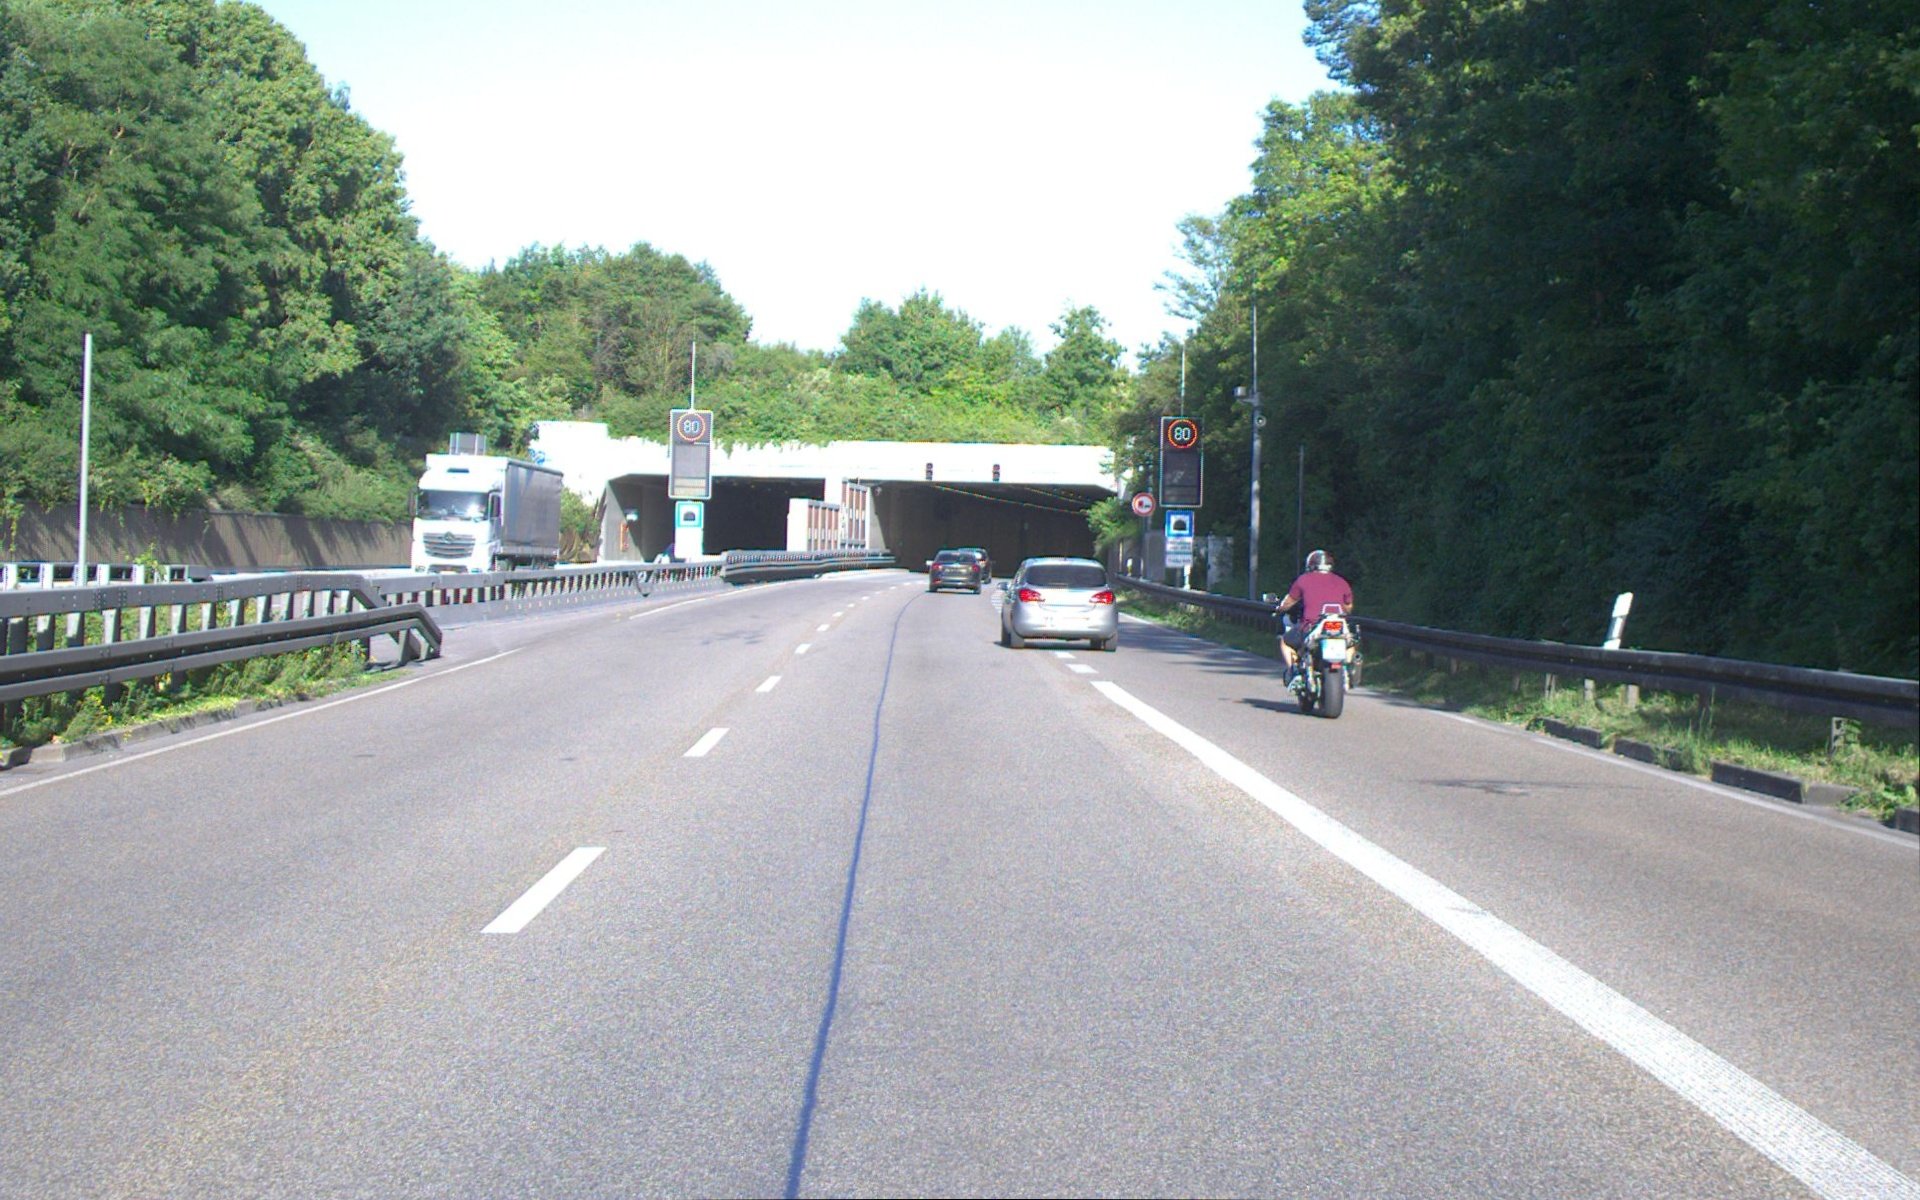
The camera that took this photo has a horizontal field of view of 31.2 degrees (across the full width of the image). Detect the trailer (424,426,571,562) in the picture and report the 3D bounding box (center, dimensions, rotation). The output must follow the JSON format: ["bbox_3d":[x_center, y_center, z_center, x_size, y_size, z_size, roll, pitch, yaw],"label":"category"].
[{"bbox_3d":[-15.817,-3.654,118.686,2.747,4.265,14.086,3,2,1],"label":"trailer"}]

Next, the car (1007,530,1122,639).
[{"bbox_3d":[1.649,-0.280,55.416,1.667,1.546,4.000,3,2,0],"label":"car"}]

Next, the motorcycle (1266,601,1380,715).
[{"bbox_3d":[3.537,0.545,33.706,0.858,0.988,2.728,3,1,2],"label":"motorcycle"}]

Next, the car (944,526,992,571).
[{"bbox_3d":[0.346,-2.332,154.367,1.993,1.919,4.000,2,1,-1],"label":"car"}]

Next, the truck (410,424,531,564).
[{"bbox_3d":[-15.875,-3.452,111.924,2.736,4.246,6.387,3,2,0],"label":"truck"}]

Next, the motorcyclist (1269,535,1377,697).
[{"bbox_3d":[3.543,0.145,33.608,0.883,1.496,1.063,3,2,2],"label":"motorcyclist"}]

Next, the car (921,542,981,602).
[{"bbox_3d":[-0.328,-0.989,119.778,1.993,1.919,4.000,2,1,-1],"label":"car"}]
